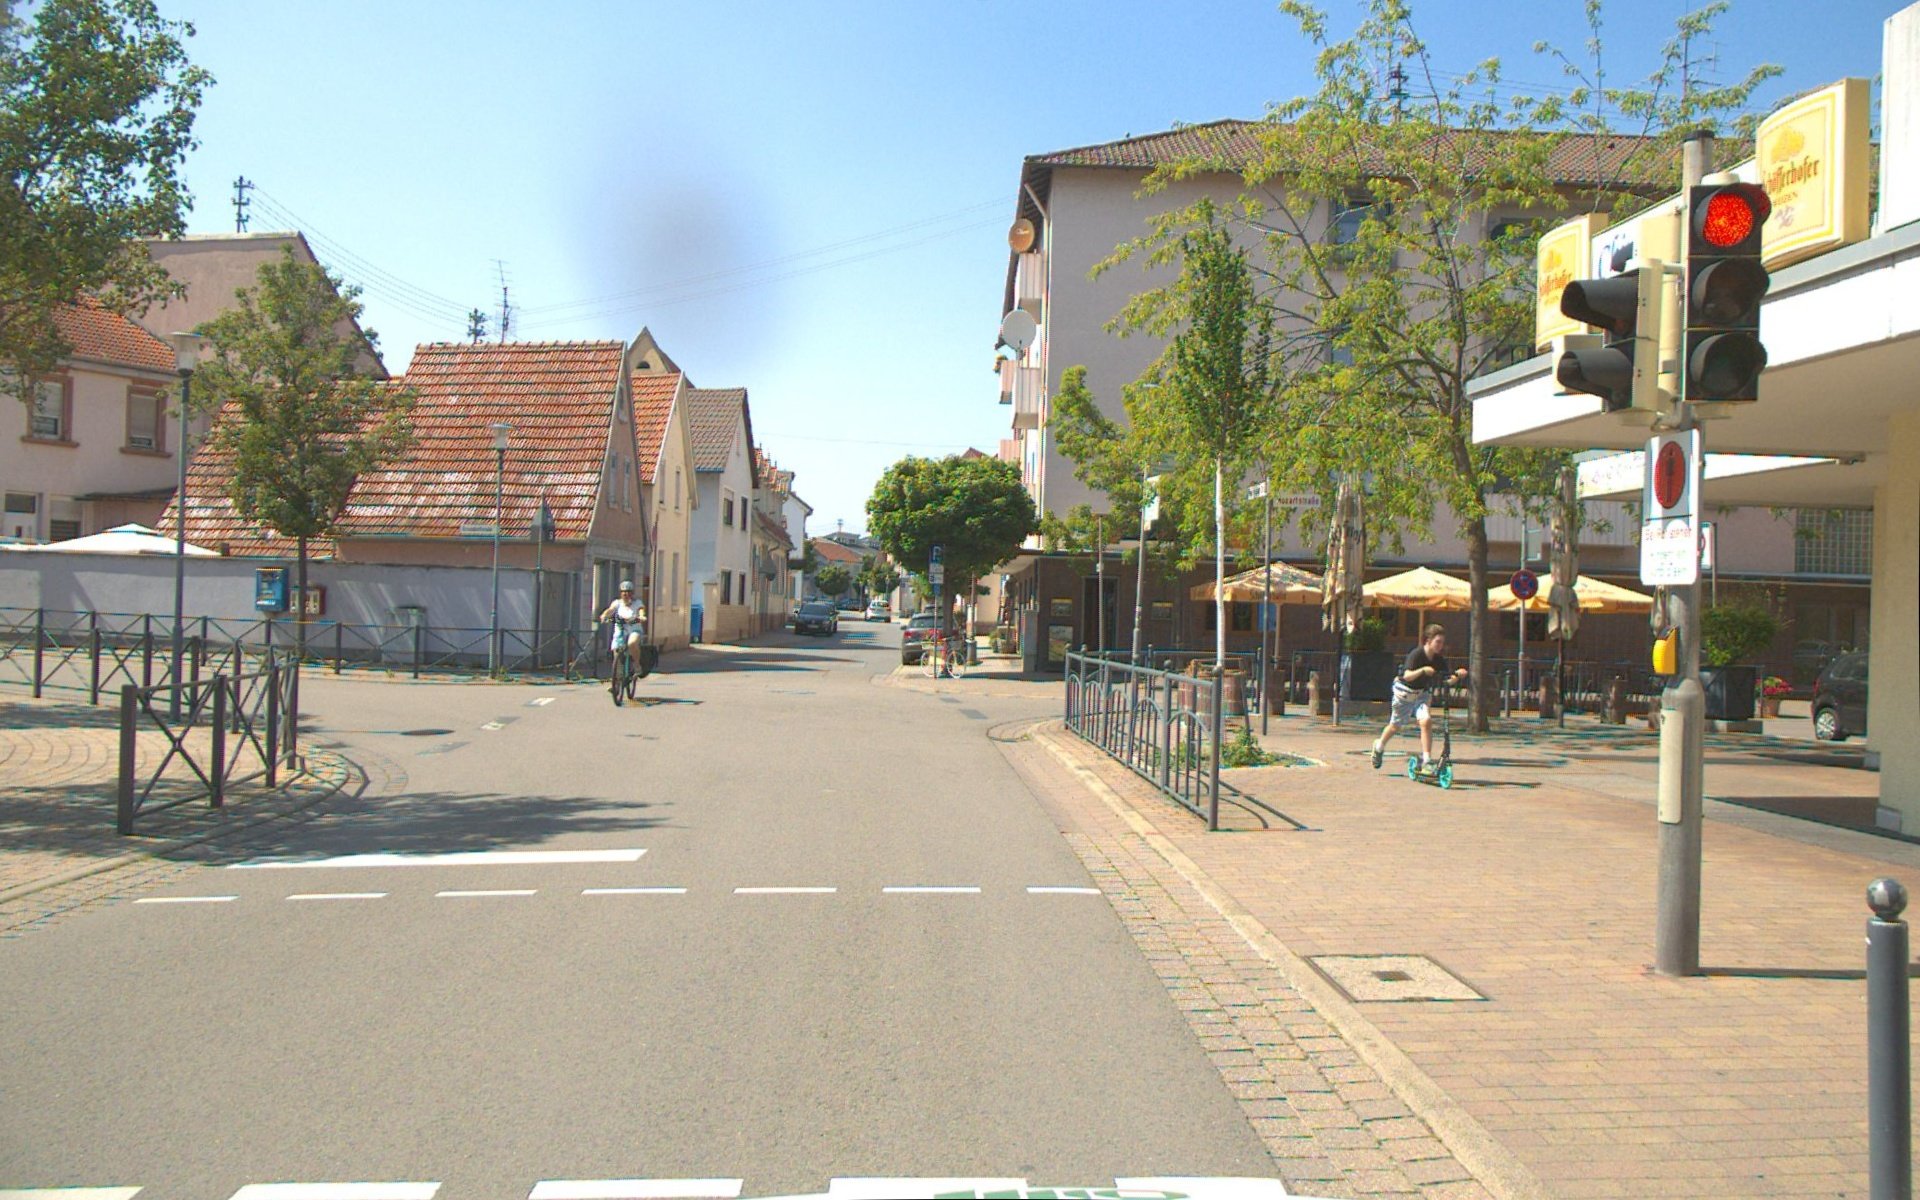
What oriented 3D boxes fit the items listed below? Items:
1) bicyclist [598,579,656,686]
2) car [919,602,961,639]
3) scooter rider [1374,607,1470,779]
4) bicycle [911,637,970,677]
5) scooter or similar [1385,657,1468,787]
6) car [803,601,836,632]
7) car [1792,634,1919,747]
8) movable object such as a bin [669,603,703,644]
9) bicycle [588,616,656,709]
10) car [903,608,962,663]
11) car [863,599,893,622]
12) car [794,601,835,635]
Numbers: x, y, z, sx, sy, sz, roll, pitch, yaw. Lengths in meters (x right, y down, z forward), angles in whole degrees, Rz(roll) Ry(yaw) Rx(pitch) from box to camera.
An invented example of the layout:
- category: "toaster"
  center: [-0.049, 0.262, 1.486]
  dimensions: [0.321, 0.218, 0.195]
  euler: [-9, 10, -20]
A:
- category: "bicyclist"
  center: [-4.887, 0.472, 24.312]
  dimensions: [0.700, 1.533, 0.870]
  euler: [1, 0, -4]
- category: "car"
  center: [-0.981, 0.987, 81.029]
  dimensions: [2.001, 1.718, 4.840]
  euler: [1, 0, -1]
- category: "scooter rider"
  center: [3.792, 0.737, 13.636]
  dimensions: [0.452, 1.348, 1.133]
  euler: [1, 0, 0]
- category: "bicycle"
  center: [-0.465, 1.322, 38.549]
  dimensions: [1.386, 0.913, 0.463]
  euler: [0, 0, 36]
- category: "scooter or similar"
  center: [3.786, 0.976, 13.470]
  dimensions: [0.402, 0.982, 0.960]
  euler: [1, 0, 1]
- category: "car"
  center: [-7.167, 0.822, 84.625]
  dimensions: [1.630, 1.502, 3.447]
  euler: [1, 0, -5]
- category: "car"
  center: [14.055, 1.306, 23.895]
  dimensions: [1.733, 1.536, 3.965]
  euler: [2, -1, -7]
- category: "movable object such as a bin"
  center: [-9.369, 0.805, 56.618]
  dimensions: [1.078, 1.389, 0.390]
  euler: [1, -1, 3]
- category: "bicycle"
  center: [-4.931, 0.886, 24.258]
  dimensions: [0.694, 1.274, 1.970]
  euler: [1, 0, -4]
- category: "car"
  center: [-0.748, 0.987, 47.166]
  dimensions: [1.543, 1.479, 3.486]
  euler: [1, -1, 1]
- category: "car"
  center: [-6.192, 0.793, 124.869]
  dimensions: [1.988, 1.626, 4.502]
  euler: [1, 0, -7]
- category: "car"
  center: [-6.846, 0.834, 78.076]
  dimensions: [1.629, 1.502, 4.133]
  euler: [1, 0, -1]
